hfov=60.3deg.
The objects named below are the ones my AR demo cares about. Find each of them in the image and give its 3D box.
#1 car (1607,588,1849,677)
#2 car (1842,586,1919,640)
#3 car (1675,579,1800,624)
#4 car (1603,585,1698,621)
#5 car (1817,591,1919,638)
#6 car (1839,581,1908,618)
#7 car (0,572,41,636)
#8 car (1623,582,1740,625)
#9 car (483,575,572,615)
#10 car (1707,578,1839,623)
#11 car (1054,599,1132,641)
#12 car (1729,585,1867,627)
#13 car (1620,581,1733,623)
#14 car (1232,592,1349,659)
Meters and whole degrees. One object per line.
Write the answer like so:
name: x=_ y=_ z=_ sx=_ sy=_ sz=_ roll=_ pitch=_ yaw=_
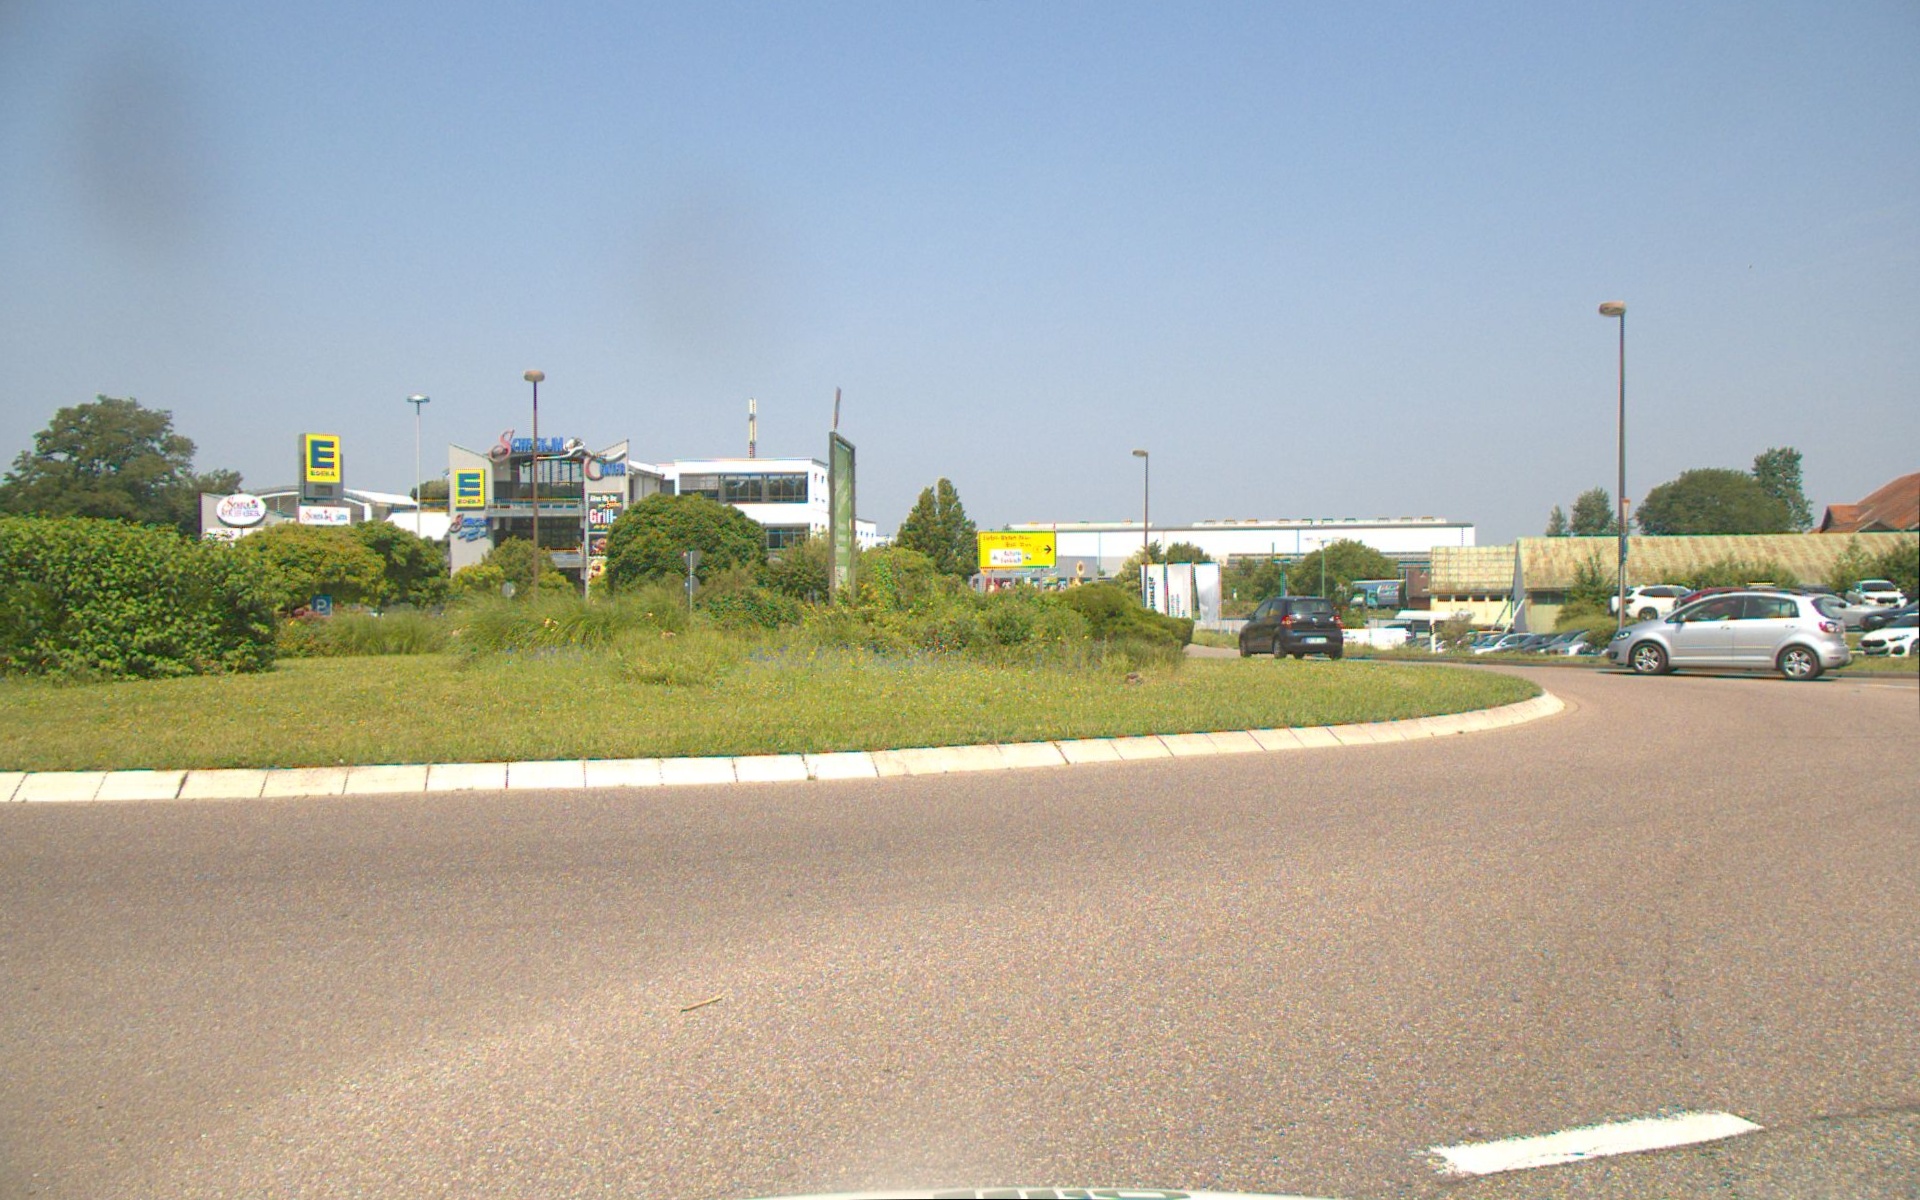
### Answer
car: x=14.370 y=0.585 z=30.986 sx=3.996 sy=1.557 sz=1.781 roll=0 pitch=-1 yaw=30
car: x=29.552 y=0.371 z=50.789 sx=4.495 sy=1.598 sz=1.758 roll=-1 pitch=-1 yaw=-20
car: x=32.258 y=0.080 z=68.750 sx=4.358 sy=1.778 sz=1.951 roll=-1 pitch=0 yaw=14
car: x=31.722 y=0.135 z=76.066 sx=3.792 sy=1.559 sz=1.770 roll=-1 pitch=0 yaw=14
car: x=31.982 y=0.482 z=57.175 sx=3.913 sy=1.553 sz=1.950 roll=-1 pitch=0 yaw=20
car: x=42.110 y=-0.002 z=76.354 sx=1.876 sy=1.624 sz=4.307 roll=-1 pitch=0 yaw=16
car: x=-31.572 y=0.106 z=52.975 sx=1.652 sy=2.049 sz=4.003 roll=1 pitch=-1 yaw=7
car: x=31.239 y=0.141 z=71.740 sx=4.358 sy=1.778 sz=1.840 roll=-1 pitch=0 yaw=14
car: x=-18.019 y=-0.191 z=68.992 sx=3.242 sy=1.602 sz=1.557 roll=-1 pitch=-1 yaw=15
car: x=32.255 y=0.025 z=65.751 sx=4.358 sy=1.663 sz=1.951 roll=-1 pitch=0 yaw=14
car: x=4.772 y=0.739 z=59.944 sx=1.748 sy=1.431 sz=4.074 roll=1 pitch=-1 yaw=-12
car: x=31.925 y=0.216 z=63.104 sx=4.358 sy=1.526 sz=1.951 roll=-1 pitch=0 yaw=14
car: x=31.868 y=0.107 z=73.722 sx=4.358 sy=1.778 sz=1.840 roll=-1 pitch=0 yaw=14
car: x=8.059 y=0.626 z=40.706 sx=1.744 sy=1.557 sz=3.995 roll=1 pitch=-1 yaw=-5
